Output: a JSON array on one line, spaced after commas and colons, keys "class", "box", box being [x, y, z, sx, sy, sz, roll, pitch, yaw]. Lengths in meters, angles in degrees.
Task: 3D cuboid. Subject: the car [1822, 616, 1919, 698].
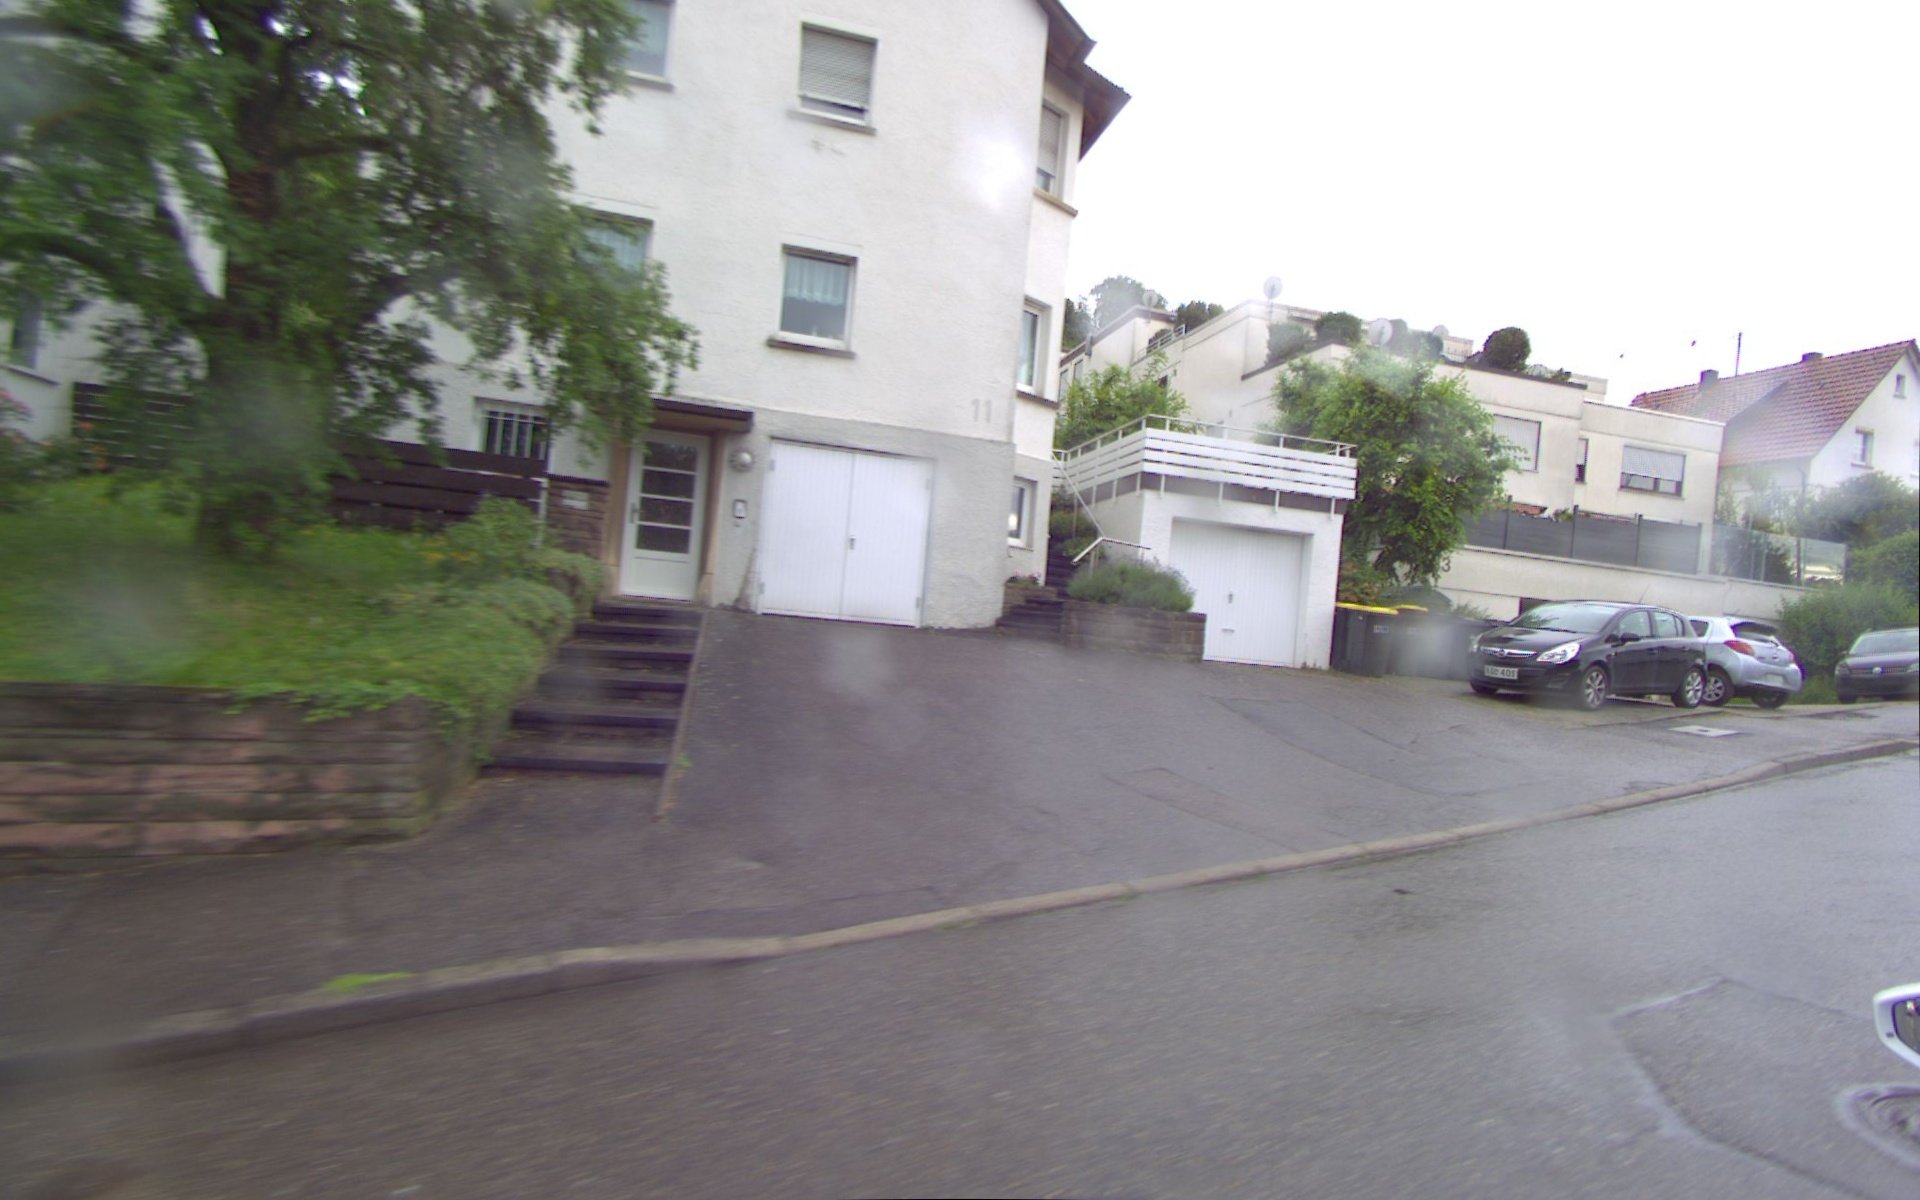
[{"class": "car", "box": [20.587, 1.217, 21.835, 4.374, 1.618, 1.791, 2, -1, -35]}]

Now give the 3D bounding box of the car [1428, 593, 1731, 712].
[{"class": "car", "box": [8.928, 0.737, 14.438, 4.194, 1.395, 1.758, 2, 3, -28]}]

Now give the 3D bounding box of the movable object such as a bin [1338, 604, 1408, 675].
[{"class": "movable object such as a bin", "box": [6.484, 0.614, 15.787, 0.690, 1.071, 0.749, 2, -1, -19]}]

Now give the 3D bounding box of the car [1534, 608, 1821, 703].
[{"class": "car", "box": [12.647, 1.095, 18.018, 1.776, 1.496, 3.825, 2, -6, -19]}]
